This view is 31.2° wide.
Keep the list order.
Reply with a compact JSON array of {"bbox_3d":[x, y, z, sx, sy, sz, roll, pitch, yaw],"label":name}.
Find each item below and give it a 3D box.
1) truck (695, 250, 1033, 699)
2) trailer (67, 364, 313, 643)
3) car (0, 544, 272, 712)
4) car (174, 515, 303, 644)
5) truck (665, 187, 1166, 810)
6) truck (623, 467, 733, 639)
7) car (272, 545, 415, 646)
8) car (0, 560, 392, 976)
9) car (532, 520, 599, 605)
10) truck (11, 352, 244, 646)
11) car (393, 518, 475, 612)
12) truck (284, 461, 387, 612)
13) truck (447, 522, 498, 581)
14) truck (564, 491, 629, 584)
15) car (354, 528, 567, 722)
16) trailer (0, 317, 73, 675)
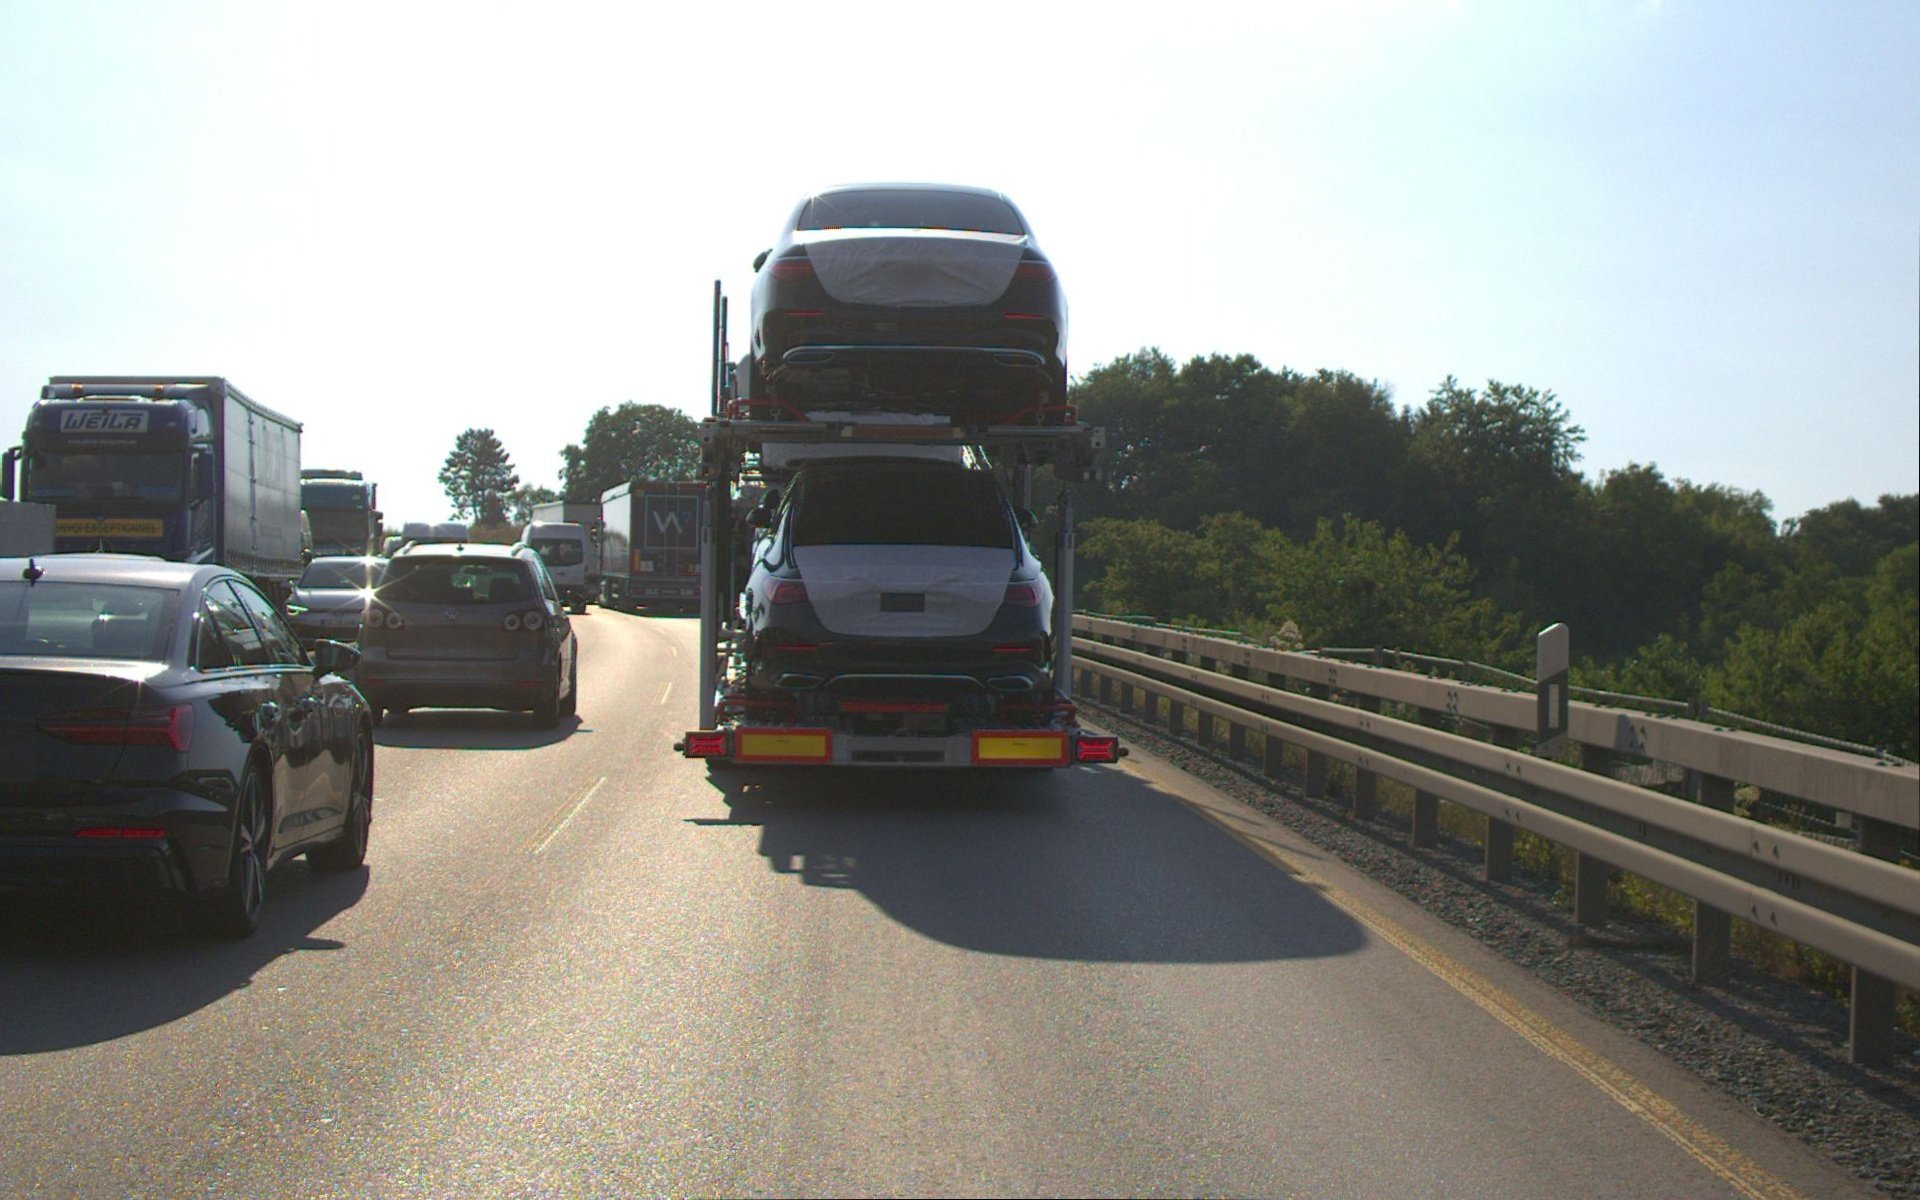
[{"bbox_3d":[-1.125,-1.102,34.100,2.837,3.779,9.988,0,0,-4],"label":"truck"},{"bbox_3d":[-12.782,-1.498,58.245,2.306,4.116,14.604,0,0,-6],"label":"trailer"},{"bbox_3d":[-7.937,0.235,33.460,1.793,1.506,4.586,0,0,-3],"label":"car"},{"bbox_3d":[-14.891,-0.439,71.211,2.157,2.549,5.590,0,0,-7],"label":"car"},{"bbox_3d":[-0.552,-0.614,24.678,2.799,3.485,10.606,0,0,-3],"label":"truck"},{"bbox_3d":[-9.071,-1.481,109.779,3.285,5.219,9.937,0,0,-6],"label":"truck"},{"bbox_3d":[-9.534,-0.088,53.424,1.758,1.503,4.255,0,0,-4],"label":"car"},{"bbox_3d":[-3.657,0.559,14.426,1.934,1.394,4.961,1,1,-3],"label":"car"},{"bbox_3d":[-11.887,-1.137,103.795,1.920,2.484,5.410,0,0,-6],"label":"car"},{"bbox_3d":[-12.149,-1.425,50.573,2.503,4.052,5.666,0,0,-5],"label":"truck"},{"bbox_3d":[-14.487,-0.975,94.983,2.056,2.491,6.777,0,0,-7],"label":"car"},{"bbox_3d":[-17.364,-1.747,95.823,2.502,4.052,5.885,0,0,-7],"label":"truck"},{"bbox_3d":[-26.653,-2.646,188.314,2.590,3.159,6.678,0,0,-7],"label":"truck"},{"bbox_3d":[-14.720,-2.505,139.466,2.530,3.635,8.907,0,0,-6],"label":"truck"},{"bbox_3d":[-4.355,0.191,30.417,1.691,1.590,4.001,0,0,-6],"label":"car"},{"bbox_3d":[-10.995,-1.056,32.551,2.519,3.712,13.980,0,0,-4],"label":"trailer"}]
